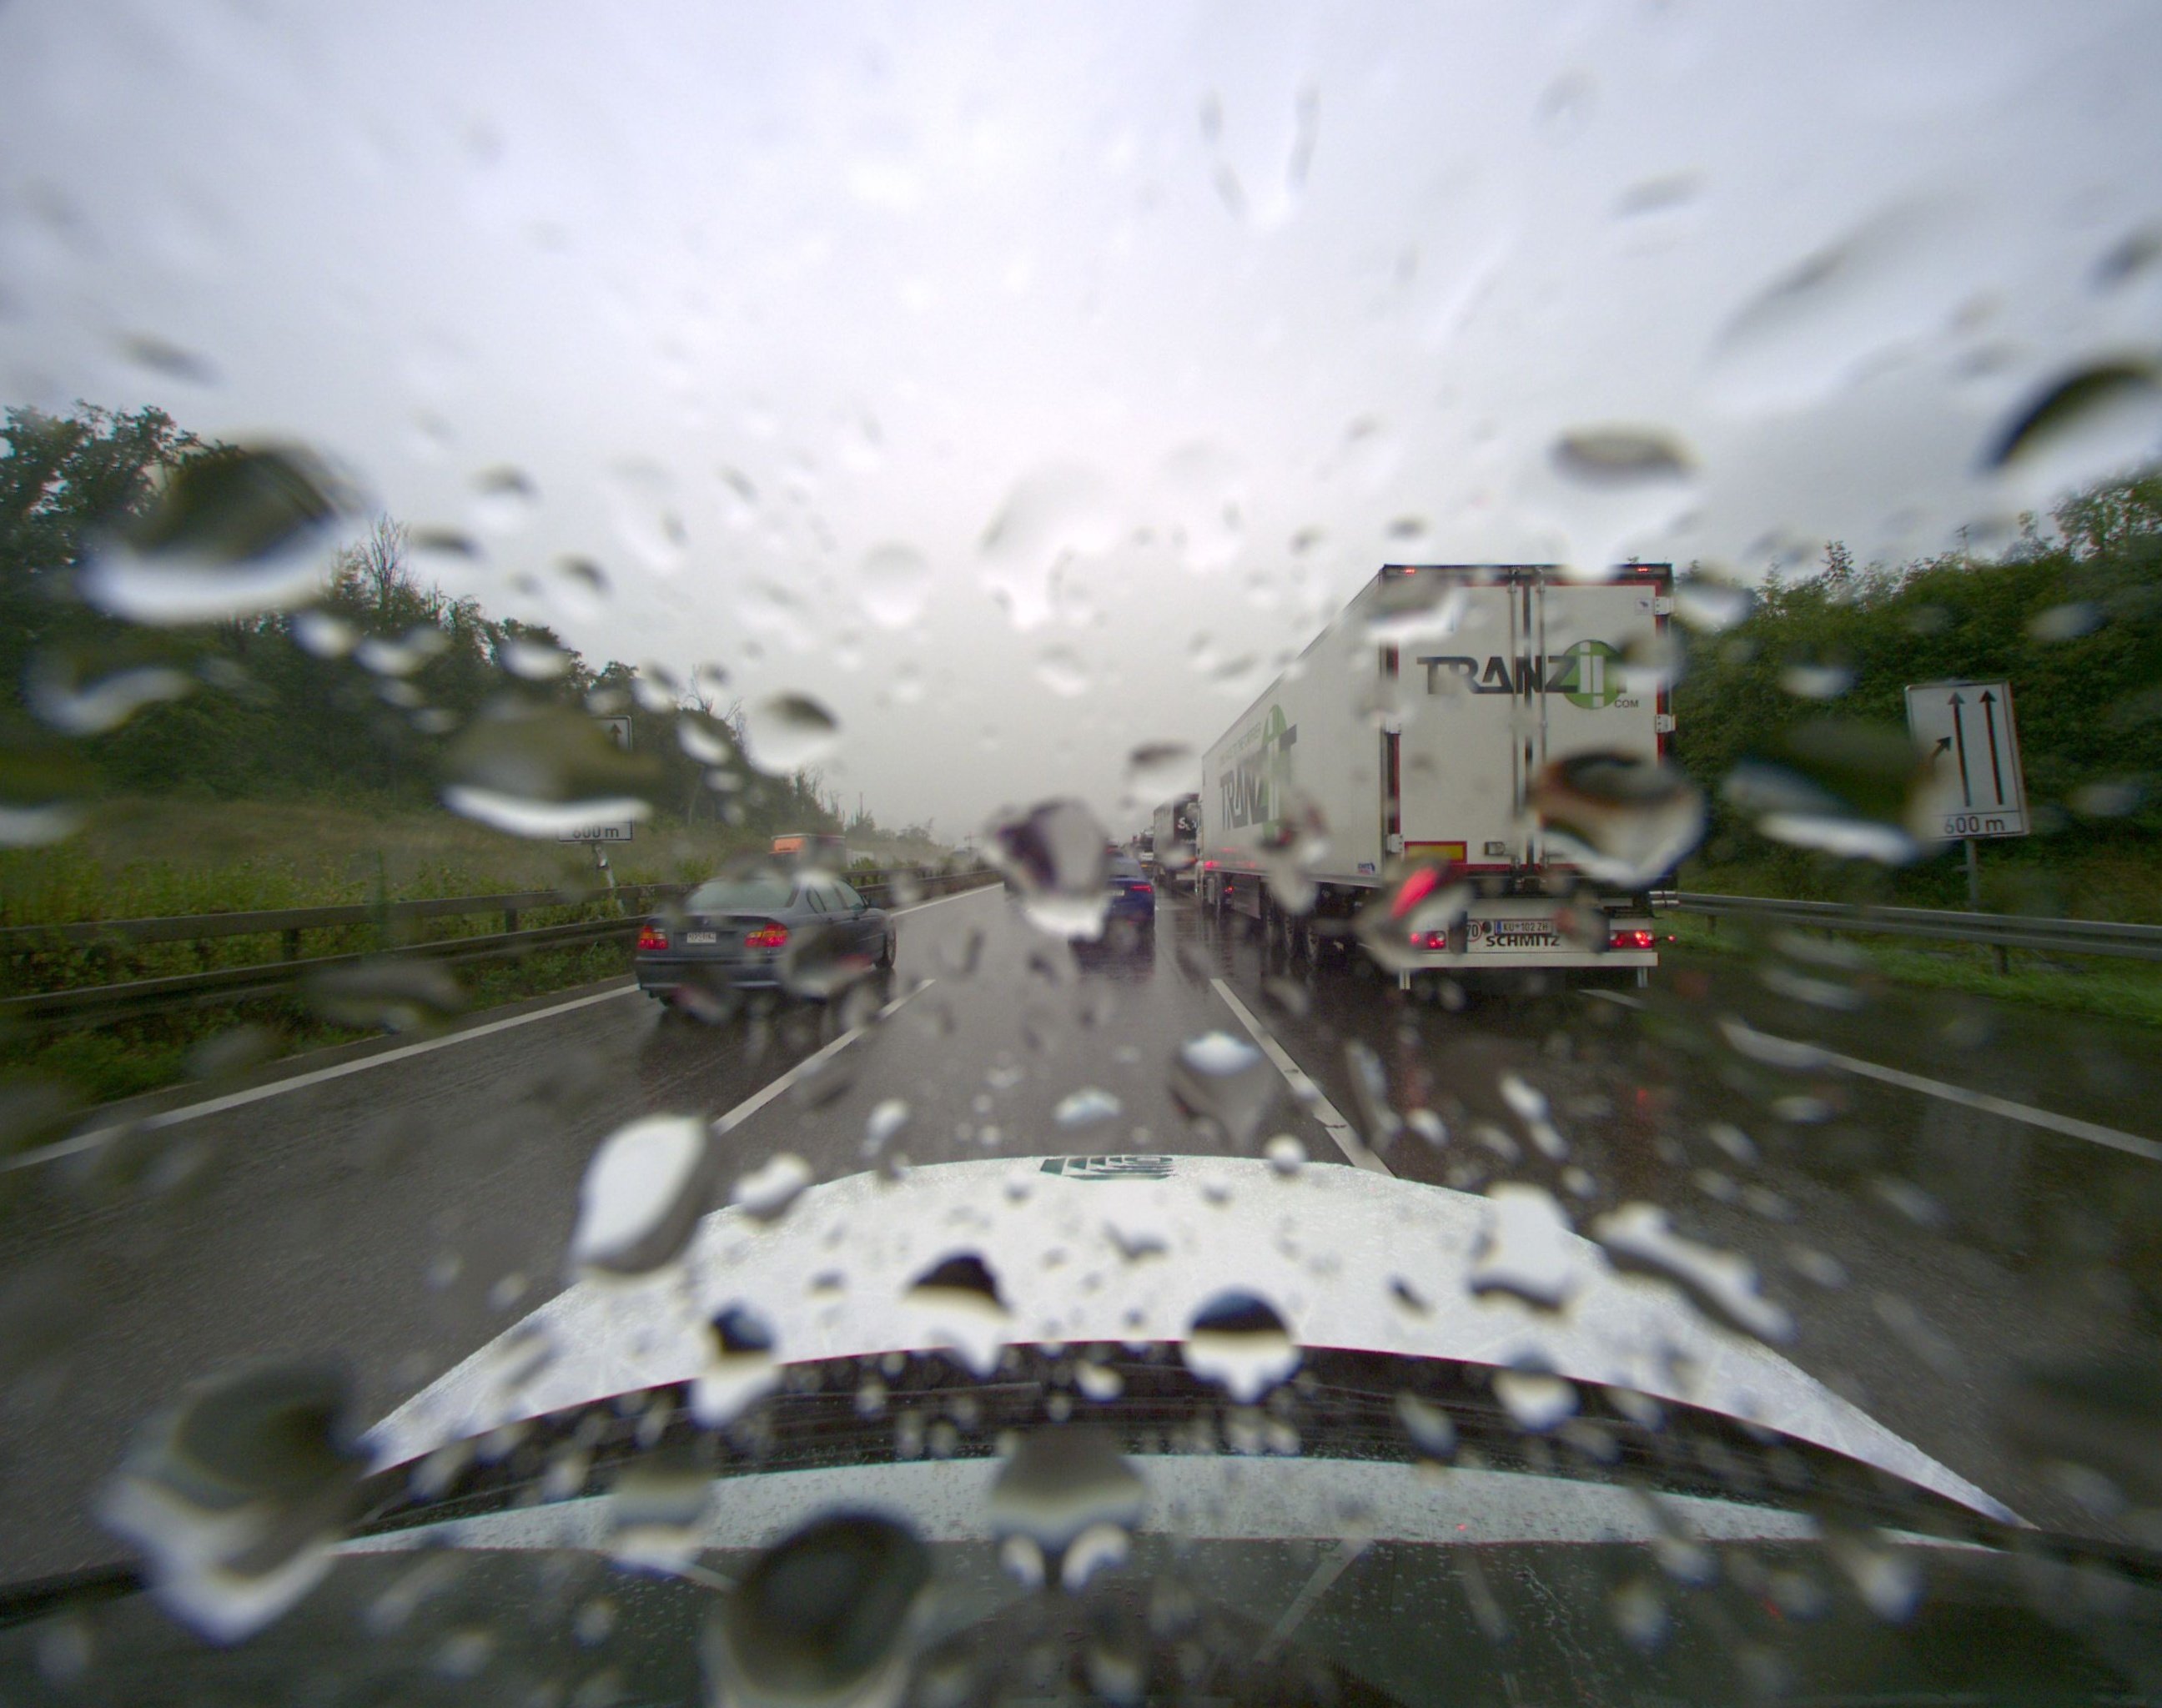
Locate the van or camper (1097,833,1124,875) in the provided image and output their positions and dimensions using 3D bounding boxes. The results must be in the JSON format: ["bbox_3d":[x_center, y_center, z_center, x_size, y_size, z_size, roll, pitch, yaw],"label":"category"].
[{"bbox_3d":[2.103,0.019,57.526,1.790,2.806,4.770,-1,0,2],"label":"van or camper"}]

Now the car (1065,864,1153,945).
[{"bbox_3d":[0.628,0.970,17.320,1.629,1.445,4.003,-1,0,3],"label":"car"}]

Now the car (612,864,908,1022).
[{"bbox_3d":[-3.458,0.858,9.745,1.711,1.400,4.232,-1,0,2],"label":"car"}]

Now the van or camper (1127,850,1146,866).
[{"bbox_3d":[5.858,0.427,86.520,1.765,1.625,4.486,-1,1,2],"label":"van or camper"}]

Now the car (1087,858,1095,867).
[{"bbox_3d":[2.019,1.726,166.513,1.443,1.784,3.411,-1,0,2],"label":"car"}]

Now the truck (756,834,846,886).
[{"bbox_3d":[-19.284,0.318,56.864,2.915,3.281,9.257,-1,1,1],"label":"truck"}]

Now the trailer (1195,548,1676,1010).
[{"bbox_3d":[4.134,-0.694,14.476,2.620,4.013,14.637,-1,0,2],"label":"trailer"}]

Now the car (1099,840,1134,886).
[{"bbox_3d":[1.461,0.332,33.590,1.331,1.780,3.323,-1,0,2],"label":"car"}]

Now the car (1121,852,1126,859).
[{"bbox_3d":[11.394,0.408,219.406,1.443,1.784,3.411,-1,0,2],"label":"car"}]

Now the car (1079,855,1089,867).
[{"bbox_3d":[0.529,1.131,132.452,1.443,1.784,3.411,-1,0,2],"label":"car"}]

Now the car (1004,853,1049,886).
[{"bbox_3d":[-2.613,0.718,39.859,1.714,1.523,4.003,-1,0,3],"label":"car"}]

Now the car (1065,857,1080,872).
[{"bbox_3d":[-0.905,1.124,89.382,1.434,1.533,3.323,-1,0,2],"label":"car"}]

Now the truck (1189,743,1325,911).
[{"bbox_3d":[4.382,-0.630,21.237,2.620,3.827,4.793,-1,0,2],"label":"truck"}]

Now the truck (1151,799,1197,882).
[{"bbox_3d":[4.900,-0.691,43.423,2.039,4.193,4.002,-1,0,2],"label":"truck"}]

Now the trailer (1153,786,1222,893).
[{"bbox_3d":[4.693,-0.617,37.776,2.039,4.176,11.454,-1,0,2],"label":"trailer"}]

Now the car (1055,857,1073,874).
[{"bbox_3d":[-1.482,1.032,72.243,1.434,1.420,3.323,-1,0,2],"label":"car"}]

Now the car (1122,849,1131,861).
[{"bbox_3d":[7.134,0.133,127.539,1.443,1.784,3.411,-1,0,2],"label":"car"}]

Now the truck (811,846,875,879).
[{"bbox_3d":[-18.995,0.682,65.517,2.642,2.480,7.893,-1,0,1],"label":"truck"}]

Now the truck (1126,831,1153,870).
[{"bbox_3d":[5.381,-0.333,76.006,1.986,3.421,8.033,-1,1,1],"label":"truck"}]
